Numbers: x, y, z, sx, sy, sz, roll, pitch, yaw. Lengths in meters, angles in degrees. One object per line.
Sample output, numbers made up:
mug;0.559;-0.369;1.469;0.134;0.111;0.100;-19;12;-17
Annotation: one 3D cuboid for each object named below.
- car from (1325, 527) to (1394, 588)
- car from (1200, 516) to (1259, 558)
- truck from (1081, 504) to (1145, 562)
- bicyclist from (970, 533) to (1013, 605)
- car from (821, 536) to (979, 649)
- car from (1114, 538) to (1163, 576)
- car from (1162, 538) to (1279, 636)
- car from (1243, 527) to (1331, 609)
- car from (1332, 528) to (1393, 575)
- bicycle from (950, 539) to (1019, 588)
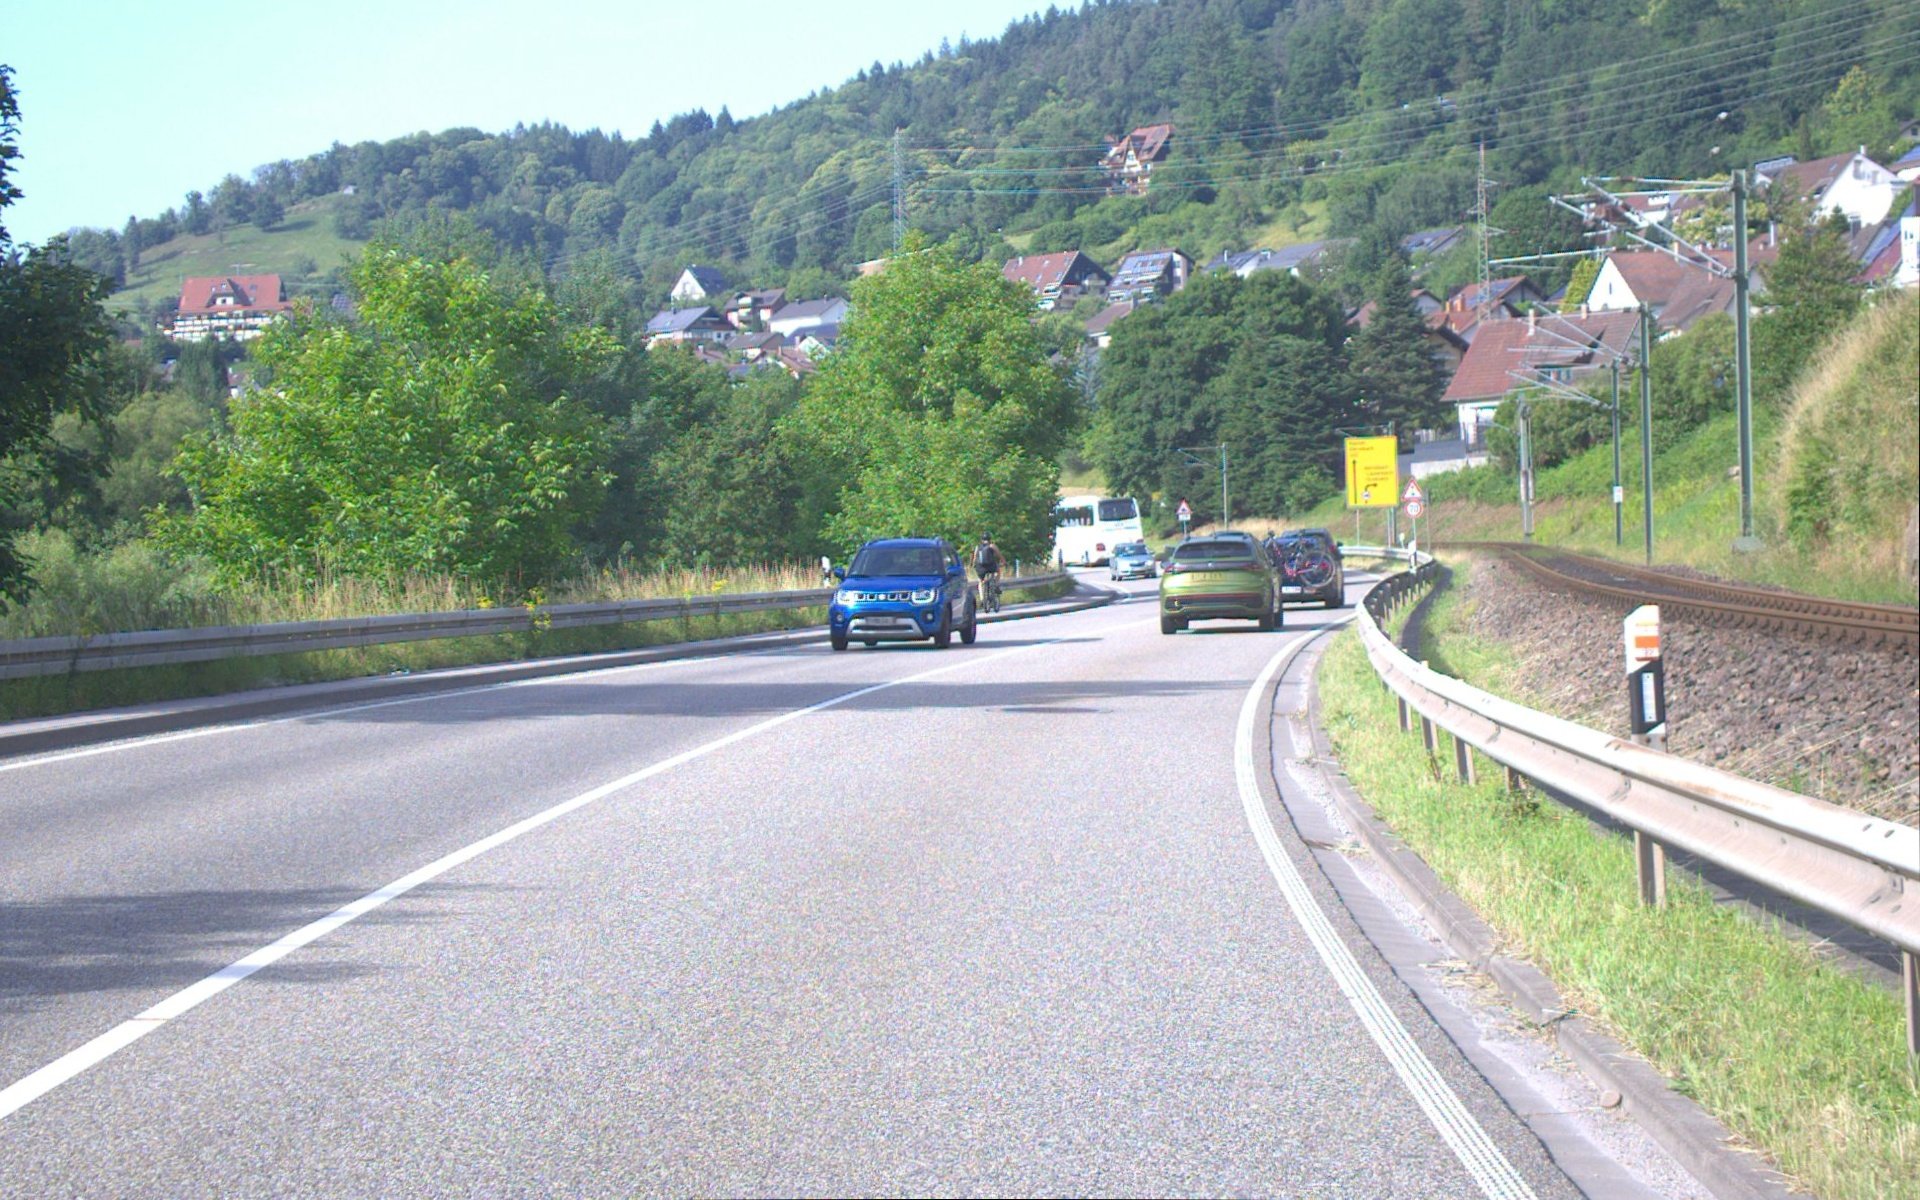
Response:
car;11.278;-1.208;96.834;1.880;1.681;3.999;0;1;7
car;11.786;-2.775;150.757;2.063;1.805;4.001;-1;2;-3
truck;8.178;-3.607;184.293;2.711;3.073;6.110;0;1;-4
bicyclist;0.701;-0.705;76.717;0.557;1.581;1.036;-1;2;-26
car;-0.830;-0.135;49.832;1.752;1.561;3.999;0;1;7
car;7.427;-1.794;142.796;1.578;1.474;3.999;3;1;8
car;4.041;-0.231;53.762;1.715;1.450;4.000;-1;1;3
car;6.417;-0.640;67.655;1.667;1.554;3.999;0;1;5
car;14.150;-1.715;120.943;1.849;1.521;3.662;-1;2;2
bicycle;0.539;-0.818;76.862;0.557;1.042;2.230;-1;2;-27
